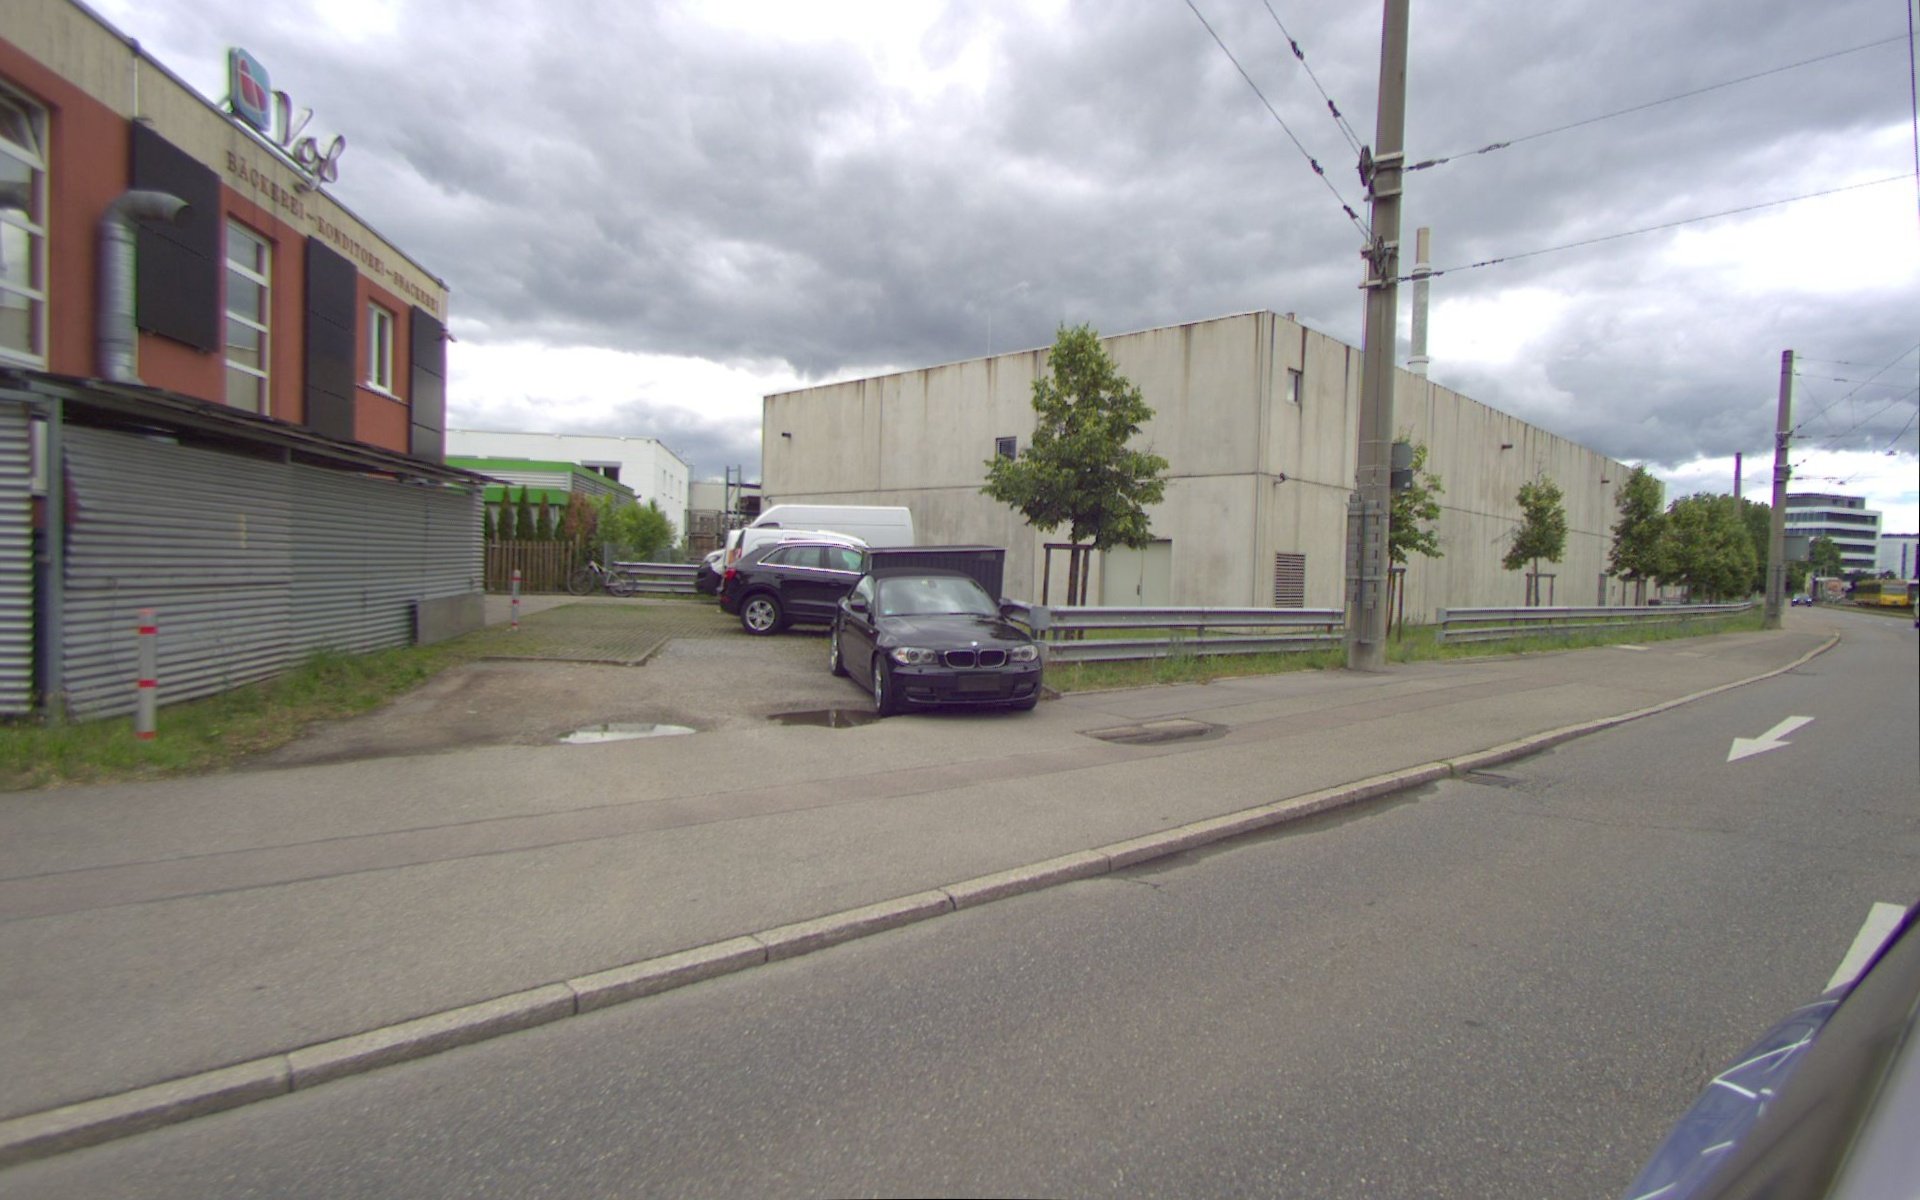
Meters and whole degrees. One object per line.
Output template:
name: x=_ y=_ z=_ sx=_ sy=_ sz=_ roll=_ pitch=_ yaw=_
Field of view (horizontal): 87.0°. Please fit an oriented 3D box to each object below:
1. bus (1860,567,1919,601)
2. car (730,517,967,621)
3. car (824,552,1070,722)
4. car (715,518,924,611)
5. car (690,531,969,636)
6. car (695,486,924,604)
bus: x=117.779 y=-2.078 z=127.570 sx=3.524 sy=4.001 sz=10.407 roll=0 pitch=2 yaw=25
car: x=-2.247 y=-0.614 z=20.174 sx=4.447 sy=1.854 sz=1.865 roll=1 pitch=2 yaw=-11
car: x=-0.372 y=0.258 z=11.527 sx=1.726 sy=1.460 sz=4.246 roll=1 pitch=4 yaw=-16
car: x=-3.104 y=-0.764 z=22.350 sx=4.349 sy=1.854 sz=1.822 roll=1 pitch=2 yaw=-10
car: x=-2.109 y=-0.327 z=17.260 sx=4.434 sy=1.566 sz=2.163 roll=1 pitch=3 yaw=-1
car: x=-3.688 y=-1.319 z=24.968 sx=5.312 sy=2.621 sz=2.100 roll=1 pitch=2 yaw=-9
